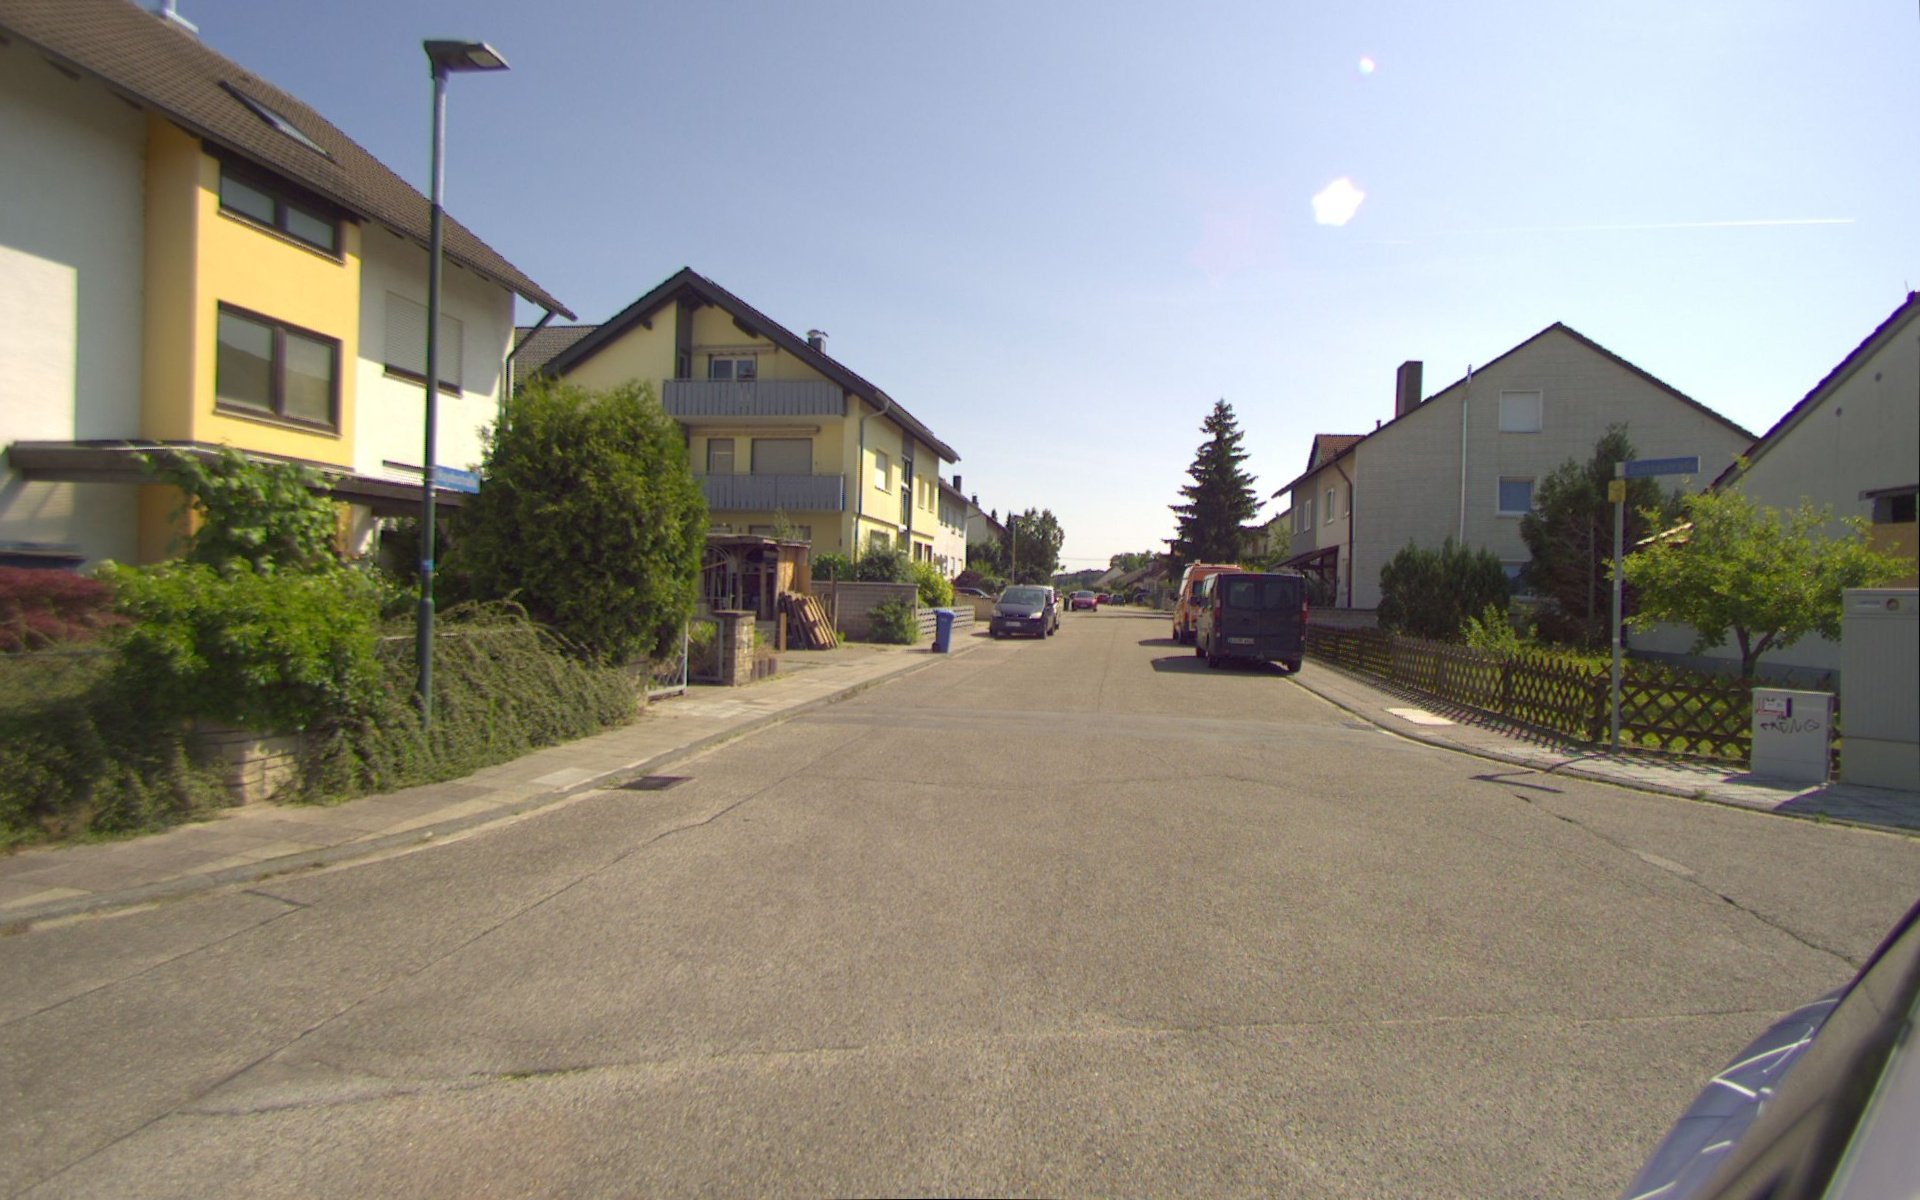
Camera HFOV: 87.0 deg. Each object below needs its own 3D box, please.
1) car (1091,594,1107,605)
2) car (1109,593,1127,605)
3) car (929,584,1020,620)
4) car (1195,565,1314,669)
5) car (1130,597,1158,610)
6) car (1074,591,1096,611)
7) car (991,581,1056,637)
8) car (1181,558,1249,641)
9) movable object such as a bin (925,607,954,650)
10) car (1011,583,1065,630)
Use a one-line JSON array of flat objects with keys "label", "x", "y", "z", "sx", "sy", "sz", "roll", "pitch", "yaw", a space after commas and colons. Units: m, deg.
[{"label": "car", "x": 18.771, "y": -0.063, "z": 136.608, "sx": 1.678, "sy": 1.357, "sz": 3.998, "roll": 1, "pitch": -1, "yaw": 1}, {"label": "car", "x": 19.323, "y": -0.112, "z": 123.999, "sx": 1.678, "sy": 1.357, "sz": 3.998, "roll": 1, "pitch": -1, "yaw": 1}, {"label": "car", "x": 0.719, "y": 0.122, "z": 48.446, "sx": 4.107, "sy": 1.639, "sz": 1.870, "roll": 1, "pitch": -1, "yaw": 10}, {"label": "car", "x": 6.143, "y": 0.304, "z": 21.560, "sx": 1.840, "sy": 1.962, "sz": 4.194, "roll": 1, "pitch": 0, "yaw": 8}, {"label": "car", "x": 24.032, "y": 0.482, "z": 132.147, "sx": 3.352, "sy": 1.549, "sz": 1.637, "roll": 1, "pitch": 0, "yaw": 3}, {"label": "car", "x": 9.068, "y": 0.089, "z": 73.678, "sx": 1.492, "sy": 1.424, "sz": 3.670, "roll": 0, "pitch": 0, "yaw": 6}, {"label": "car", "x": 2.079, "y": 0.278, "z": 32.140, "sx": 1.607, "sy": 1.646, "sz": 3.987, "roll": 1, "pitch": 0, "yaw": 10}, {"label": "car", "x": 7.695, "y": -0.034, "z": 30.813, "sx": 1.530, "sy": 2.353, "sz": 4.194, "roll": 1, "pitch": 0, "yaw": 8}, {"label": "movable object such as a bin", "x": -0.453, "y": 0.639, "z": 22.912, "sx": 0.575, "sy": 0.928, "sz": 0.596, "roll": 0, "pitch": 0, "yaw": 8}, {"label": "car", "x": 2.976, "y": 0.236, "z": 37.979, "sx": 1.607, "sy": 1.646, "sz": 3.987, "roll": 1, "pitch": 0, "yaw": 10}]
